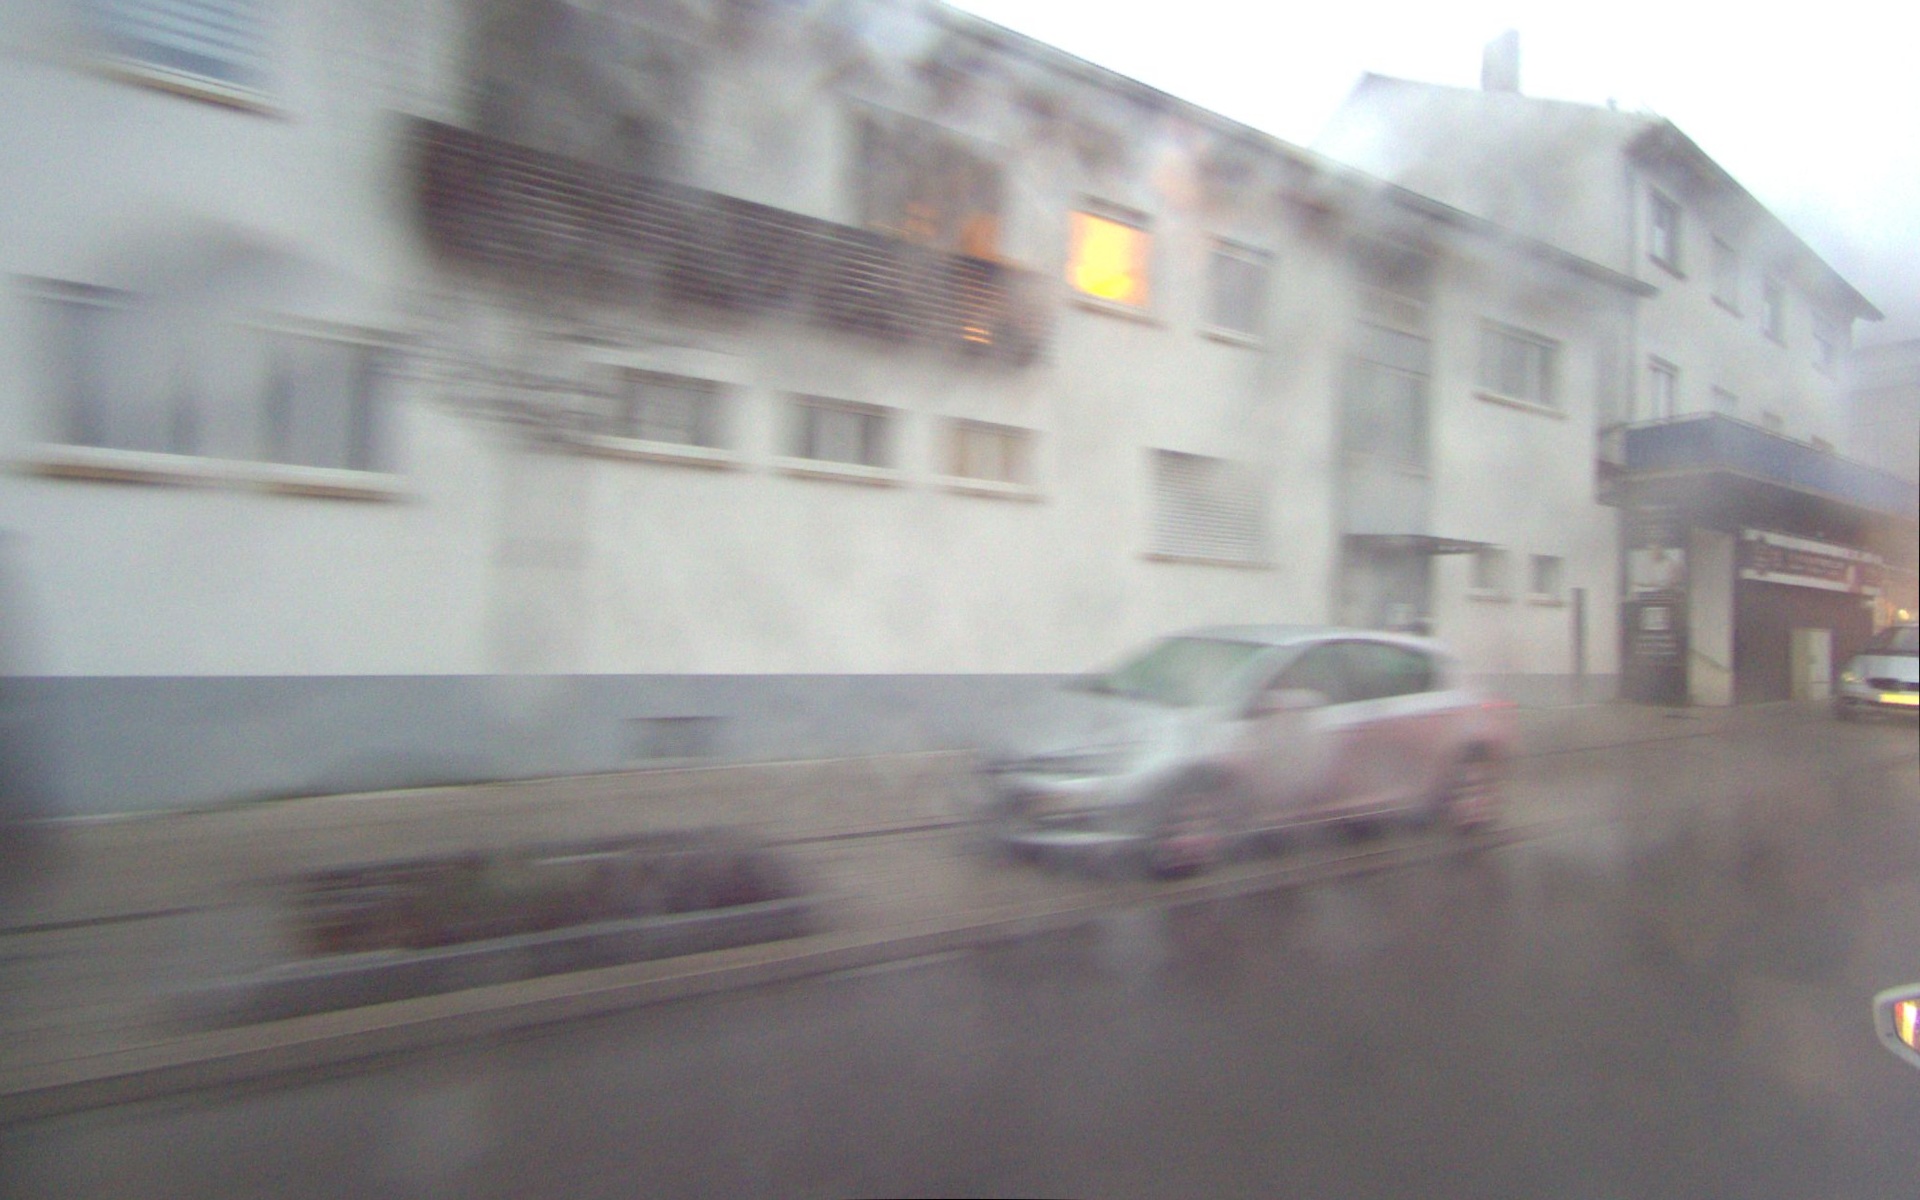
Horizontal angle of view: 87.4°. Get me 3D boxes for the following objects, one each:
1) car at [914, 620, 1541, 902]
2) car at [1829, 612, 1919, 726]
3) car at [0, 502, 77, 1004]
[{"bbox_3d":[2.012,0.925,7.273,4.340,1.476,1.787,1,0,-28],"label":"car"},{"bbox_3d":[15.517,1.049,15.859,3.774,1.636,1.711,1,1,-33],"label":"car"},{"bbox_3d":[-5.761,0.587,2.655,4.768,1.925,1.874,0,1,-25],"label":"car"}]
